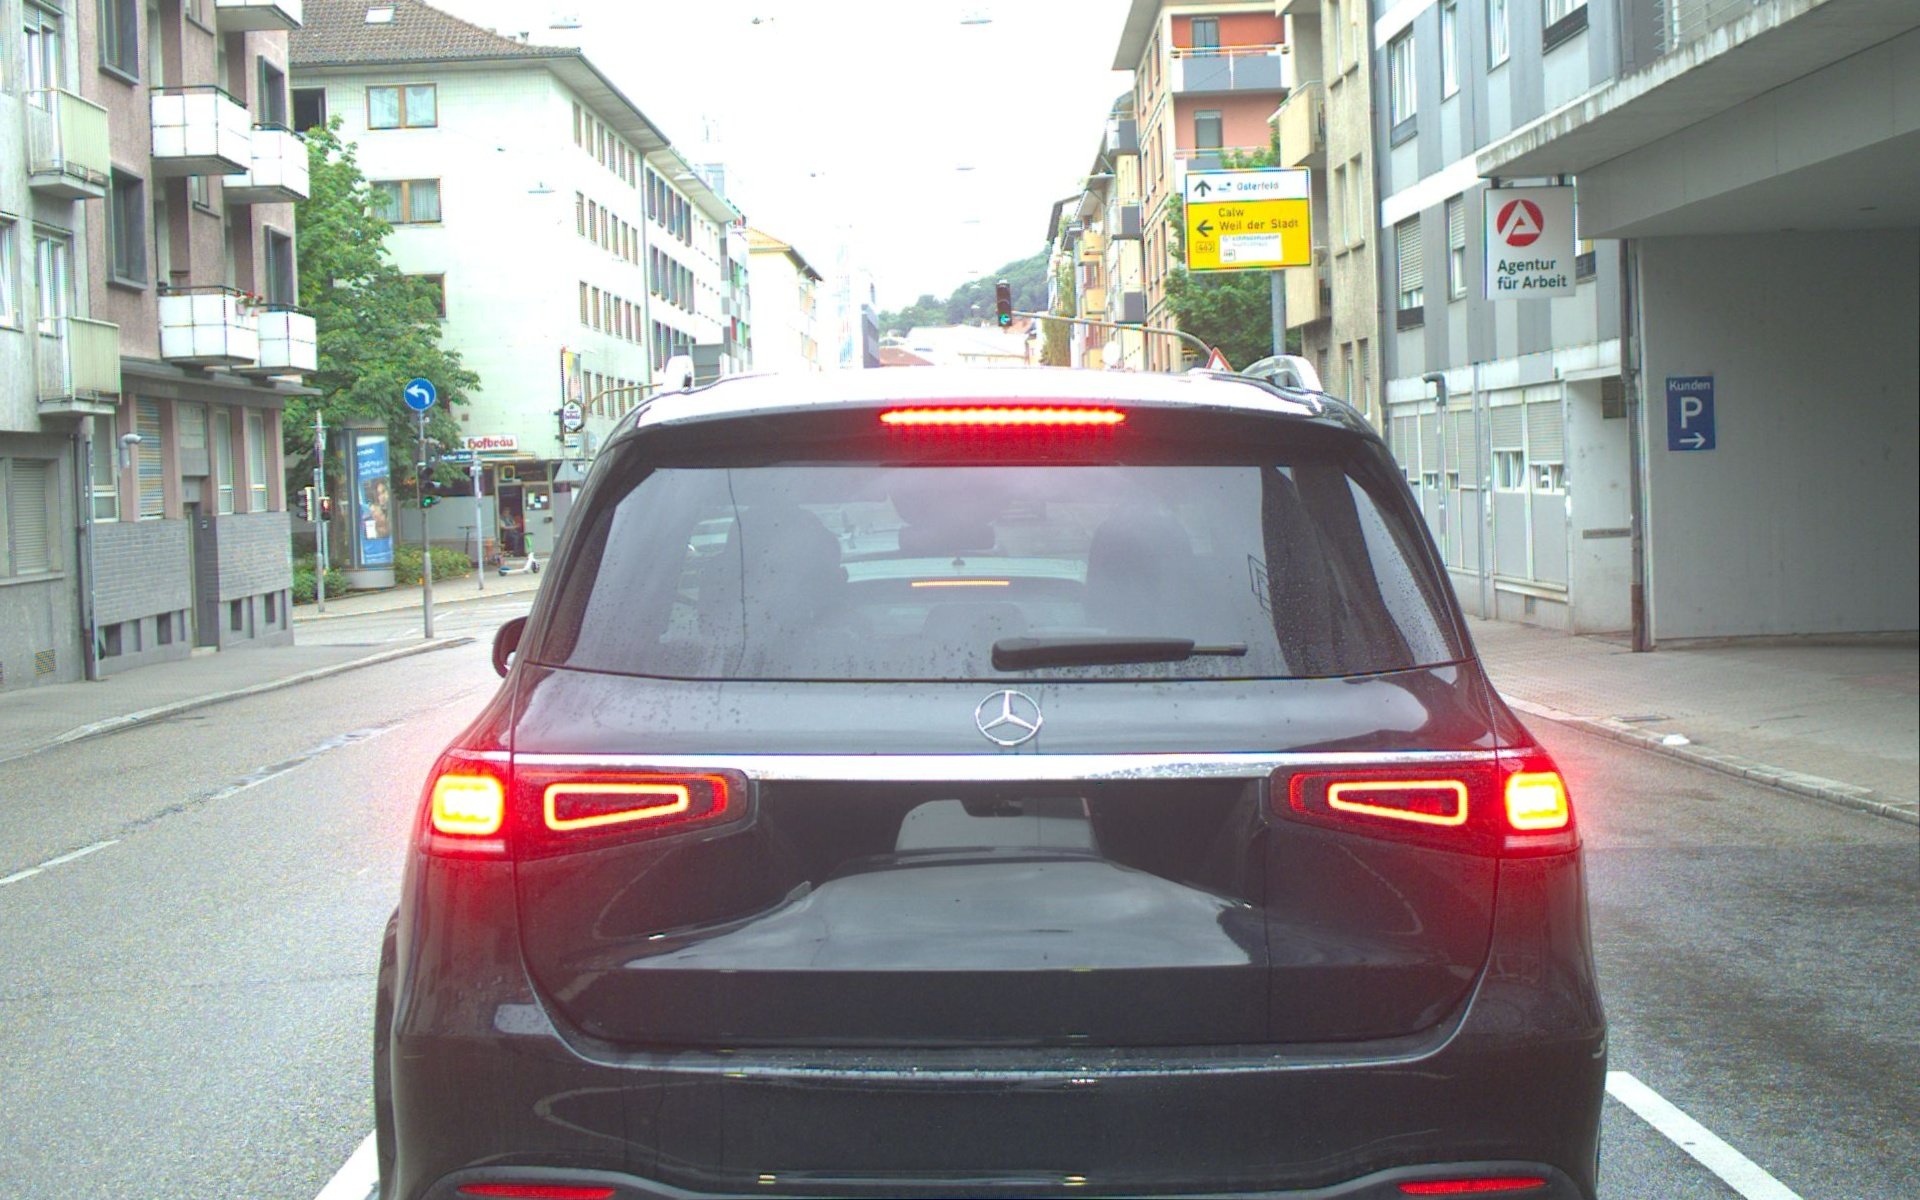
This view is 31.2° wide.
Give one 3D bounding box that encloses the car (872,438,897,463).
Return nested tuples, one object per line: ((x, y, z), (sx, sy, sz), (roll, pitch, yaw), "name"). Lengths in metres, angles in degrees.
((-5.472, -10.866, 250.193), (1.618, 1.534, 4.218), (-3, 1, -3), "car")

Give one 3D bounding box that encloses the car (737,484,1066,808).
((-0.419, 0.230, 20.841), (1.751, 1.725, 4.218), (-1, 1, -3), "car")

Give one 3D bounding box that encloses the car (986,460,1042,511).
((1.976, -4.222, 126.700), (1.723, 1.753, 4.219), (-3, 2, -3), "car")

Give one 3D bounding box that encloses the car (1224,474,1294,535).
((8.225, -2.632, 94.613), (1.671, 1.583, 3.330), (-2, 1, 2), "car")

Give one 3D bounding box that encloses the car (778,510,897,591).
((-2.581, -1.002, 71.570), (1.618, 1.534, 4.219), (-3, 1, -13), "car")

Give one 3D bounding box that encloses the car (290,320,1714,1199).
((0.031, 0.499, 7.027), (1.985, 1.799, 4.390), (1, 1, -1), "car")

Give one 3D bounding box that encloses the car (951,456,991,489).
((0.497, -6.018, 162.585), (1.618, 1.382, 4.218), (-3, 1, -3), "car")

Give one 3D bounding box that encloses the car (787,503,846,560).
((-4.228, -1.991, 101.226), (1.618, 1.534, 4.218), (-3, 1, -3), "car")

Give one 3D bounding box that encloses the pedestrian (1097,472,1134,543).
((4.533, -2.692, 100.213), (0.923, 2.007, 0.706), (-2, 1, -2), "pedestrian")

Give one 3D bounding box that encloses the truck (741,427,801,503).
((-8.612, -6.097, 157.012), (2.479, 3.035, 9.921), (-3, 1, -3), "truck")

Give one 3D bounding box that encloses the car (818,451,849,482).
((-7.144, -7.488, 193.640), (1.618, 1.534, 4.218), (-3, 1, -3), "car")

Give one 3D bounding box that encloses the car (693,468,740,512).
((-9.317, -4.203, 131.595), (1.618, 1.534, 4.218), (-3, 2, -3), "car")

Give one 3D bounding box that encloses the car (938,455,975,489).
((-0.205, -6.507, 175.182), (1.618, 1.534, 4.218), (-3, 1, -3), "car")

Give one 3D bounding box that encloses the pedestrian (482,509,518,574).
((-13.624, -1.739, 101.813), (0.923, 1.895, 0.706), (-2, 1, -2), "pedestrian")

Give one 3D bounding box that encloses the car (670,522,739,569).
((-7.610, -1.621, 102.580), (1.885, 1.260, 4.218), (-3, 1, -3), "car")
